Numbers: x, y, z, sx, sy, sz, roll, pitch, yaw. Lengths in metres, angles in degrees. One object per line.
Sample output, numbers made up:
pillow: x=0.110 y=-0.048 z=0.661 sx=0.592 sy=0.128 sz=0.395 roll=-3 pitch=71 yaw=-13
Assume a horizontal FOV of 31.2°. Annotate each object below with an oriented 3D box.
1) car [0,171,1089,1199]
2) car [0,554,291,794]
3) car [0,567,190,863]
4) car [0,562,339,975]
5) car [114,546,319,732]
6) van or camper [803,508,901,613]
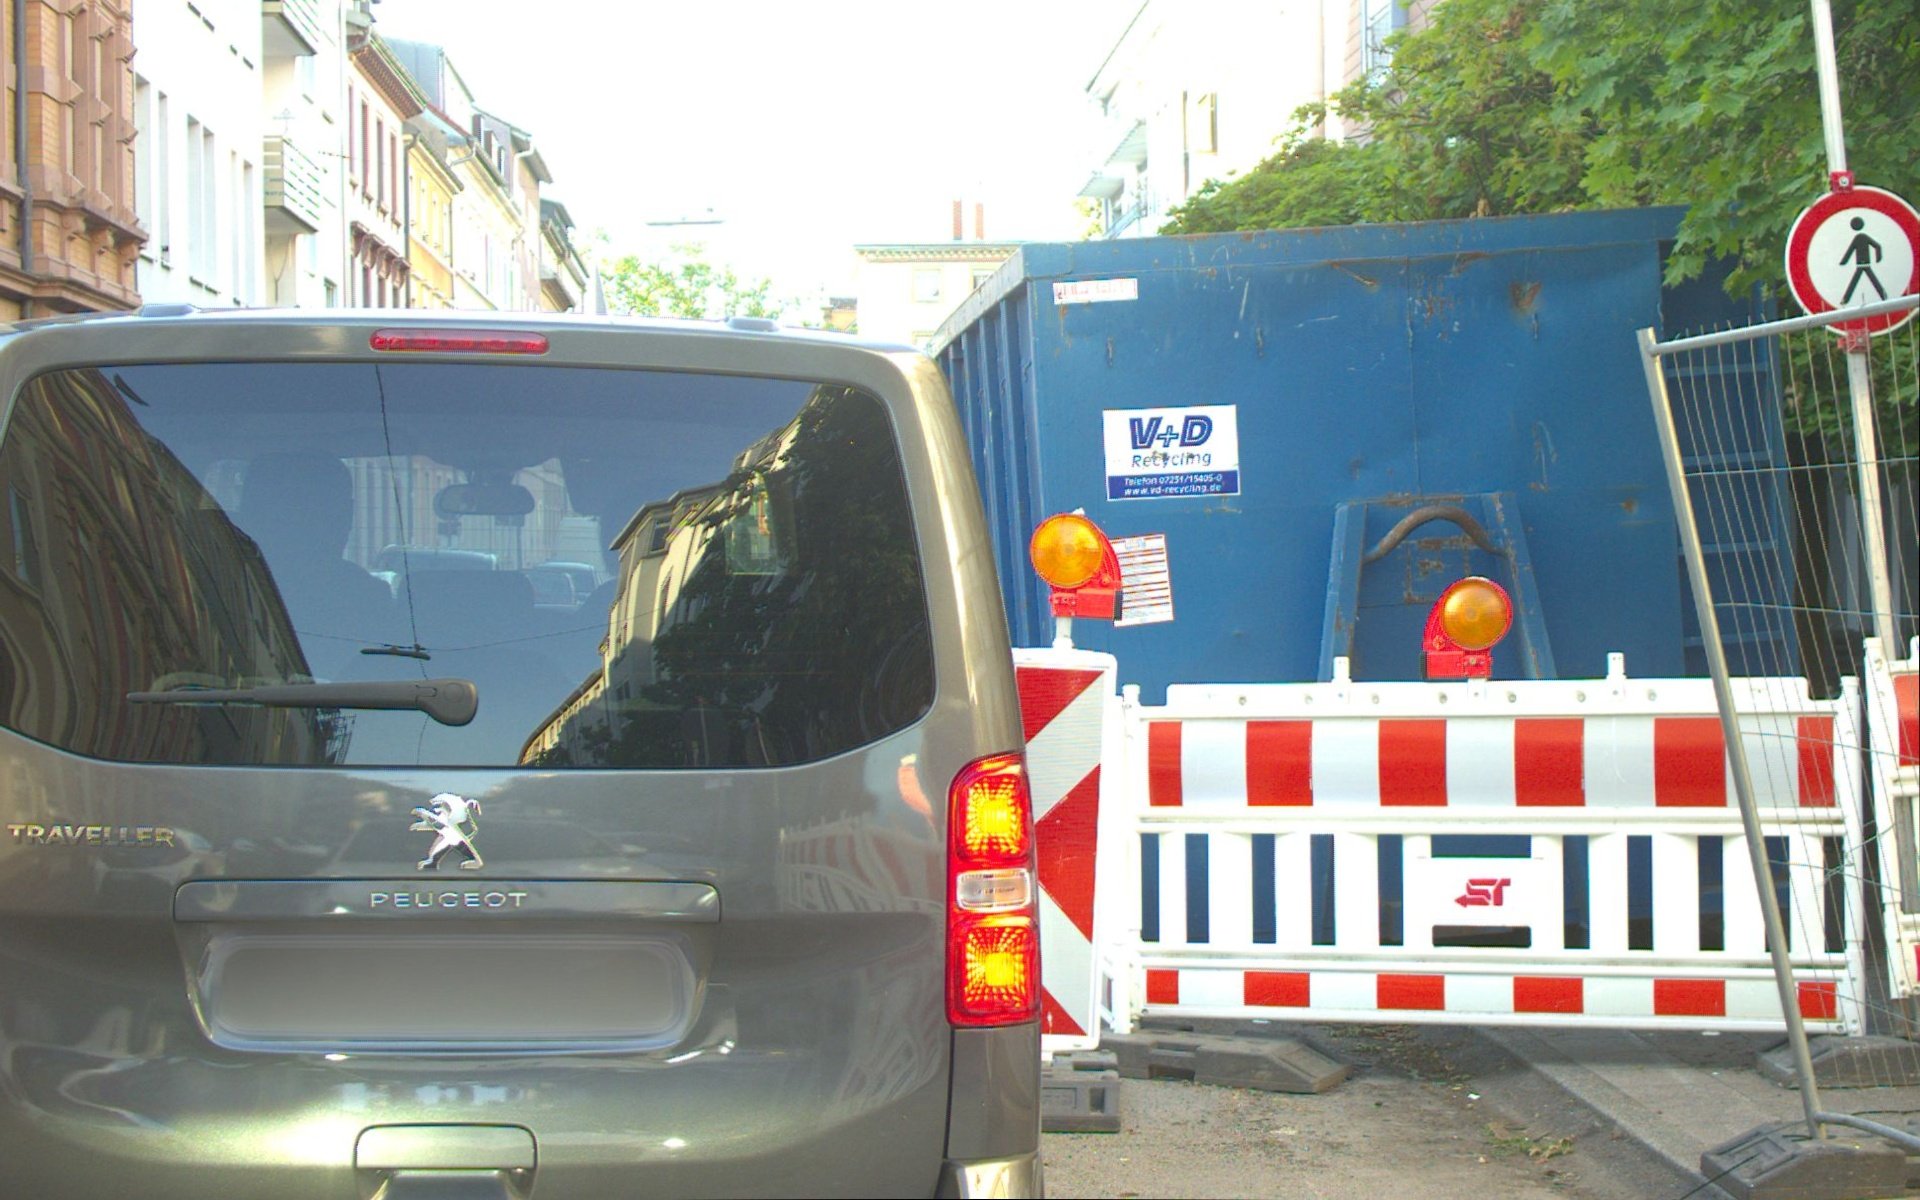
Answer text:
car: x=-0.903 y=0.415 z=6.703 sx=1.857 sy=2.007 sz=4.001 roll=-2 pitch=1 yaw=-4
car: x=-5.709 y=0.456 z=24.069 sx=1.555 sy=1.503 sz=3.598 roll=2 pitch=1 yaw=-4
car: x=-5.234 y=0.547 z=18.537 sx=1.632 sy=1.425 sz=3.556 roll=0 pitch=1 yaw=-5
car: x=-3.975 y=0.590 z=14.473 sx=1.993 sy=1.481 sz=4.000 roll=0 pitch=1 yaw=0
car: x=-6.595 y=0.310 z=30.705 sx=1.395 sy=1.583 sz=2.794 roll=0 pitch=1 yaw=-4
van or camper: x=-2.885 y=-1.046 z=90.211 sx=2.099 sy=2.593 sz=7.514 roll=-2 pitch=1 yaw=-5
